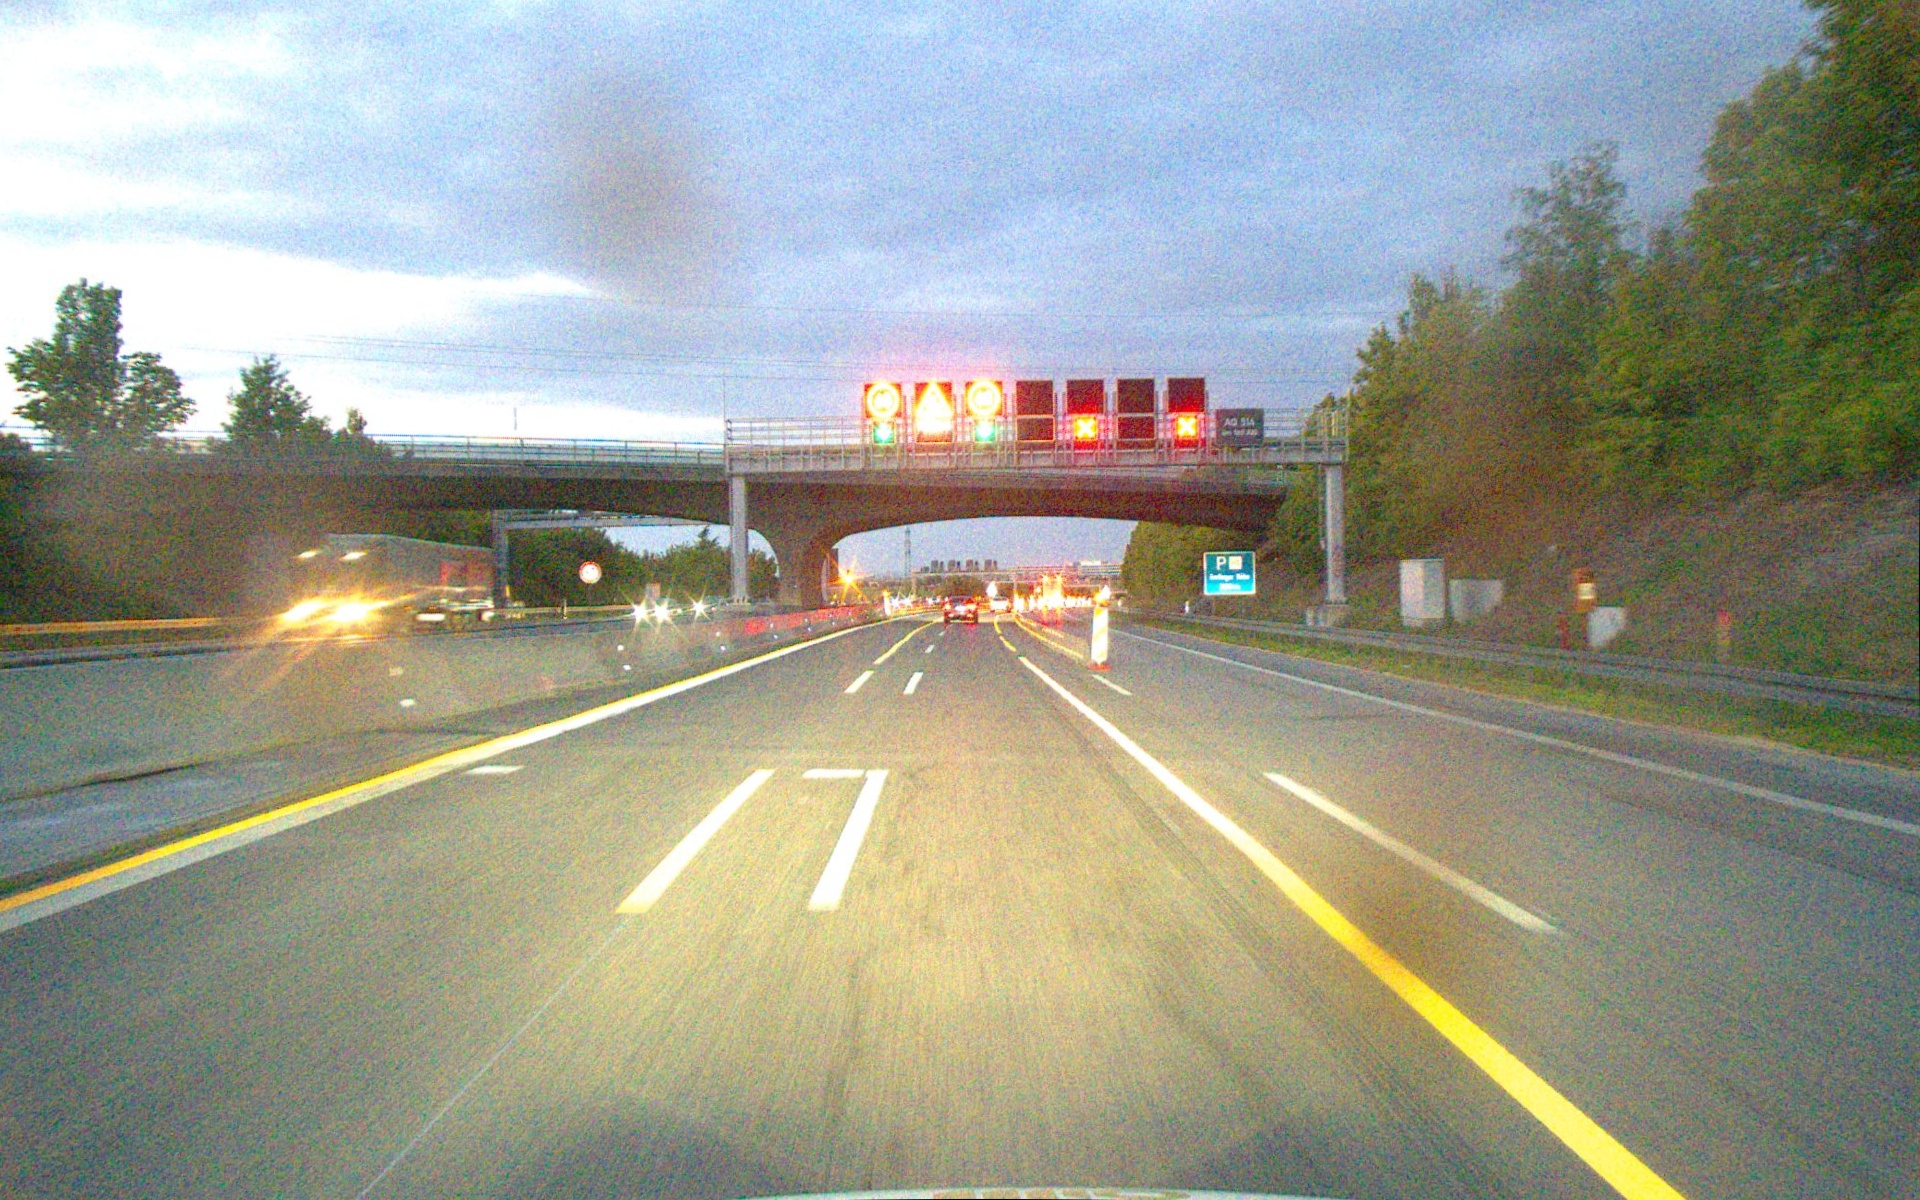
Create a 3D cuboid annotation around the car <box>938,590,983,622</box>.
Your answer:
[{"bbox_3d":[-0.002,0.313,88.880,2.220,1.649,3.998,1,0,-3],"label":"car"}]

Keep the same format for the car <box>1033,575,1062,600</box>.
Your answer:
[{"bbox_3d":[12.373,-1.753,234.292,3.532,3.455,8.012,1,0,-1],"label":"car"}]

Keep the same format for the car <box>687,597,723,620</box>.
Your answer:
[{"bbox_3d":[-19.391,0.641,125.975,1.953,1.703,4.582,1,0,0],"label":"car"}]

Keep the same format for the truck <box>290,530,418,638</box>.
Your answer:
[{"bbox_3d":[-25.204,-0.643,69.111,2.719,4.244,6.387,1,0,2],"label":"truck"}]

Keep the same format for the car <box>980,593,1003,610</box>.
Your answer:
[{"bbox_3d":[2.850,0.175,149.548,1.930,1.462,4.001,1,0,3],"label":"car"}]

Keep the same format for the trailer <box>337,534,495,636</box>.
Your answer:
[{"bbox_3d":[-24.944,-0.613,76.763,2.721,4.279,12.405,1,0,2],"label":"trailer"}]

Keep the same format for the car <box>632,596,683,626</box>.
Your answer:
[{"bbox_3d":[-17.845,0.659,97.745,1.952,1.705,4.516,1,0,2],"label":"car"}]
